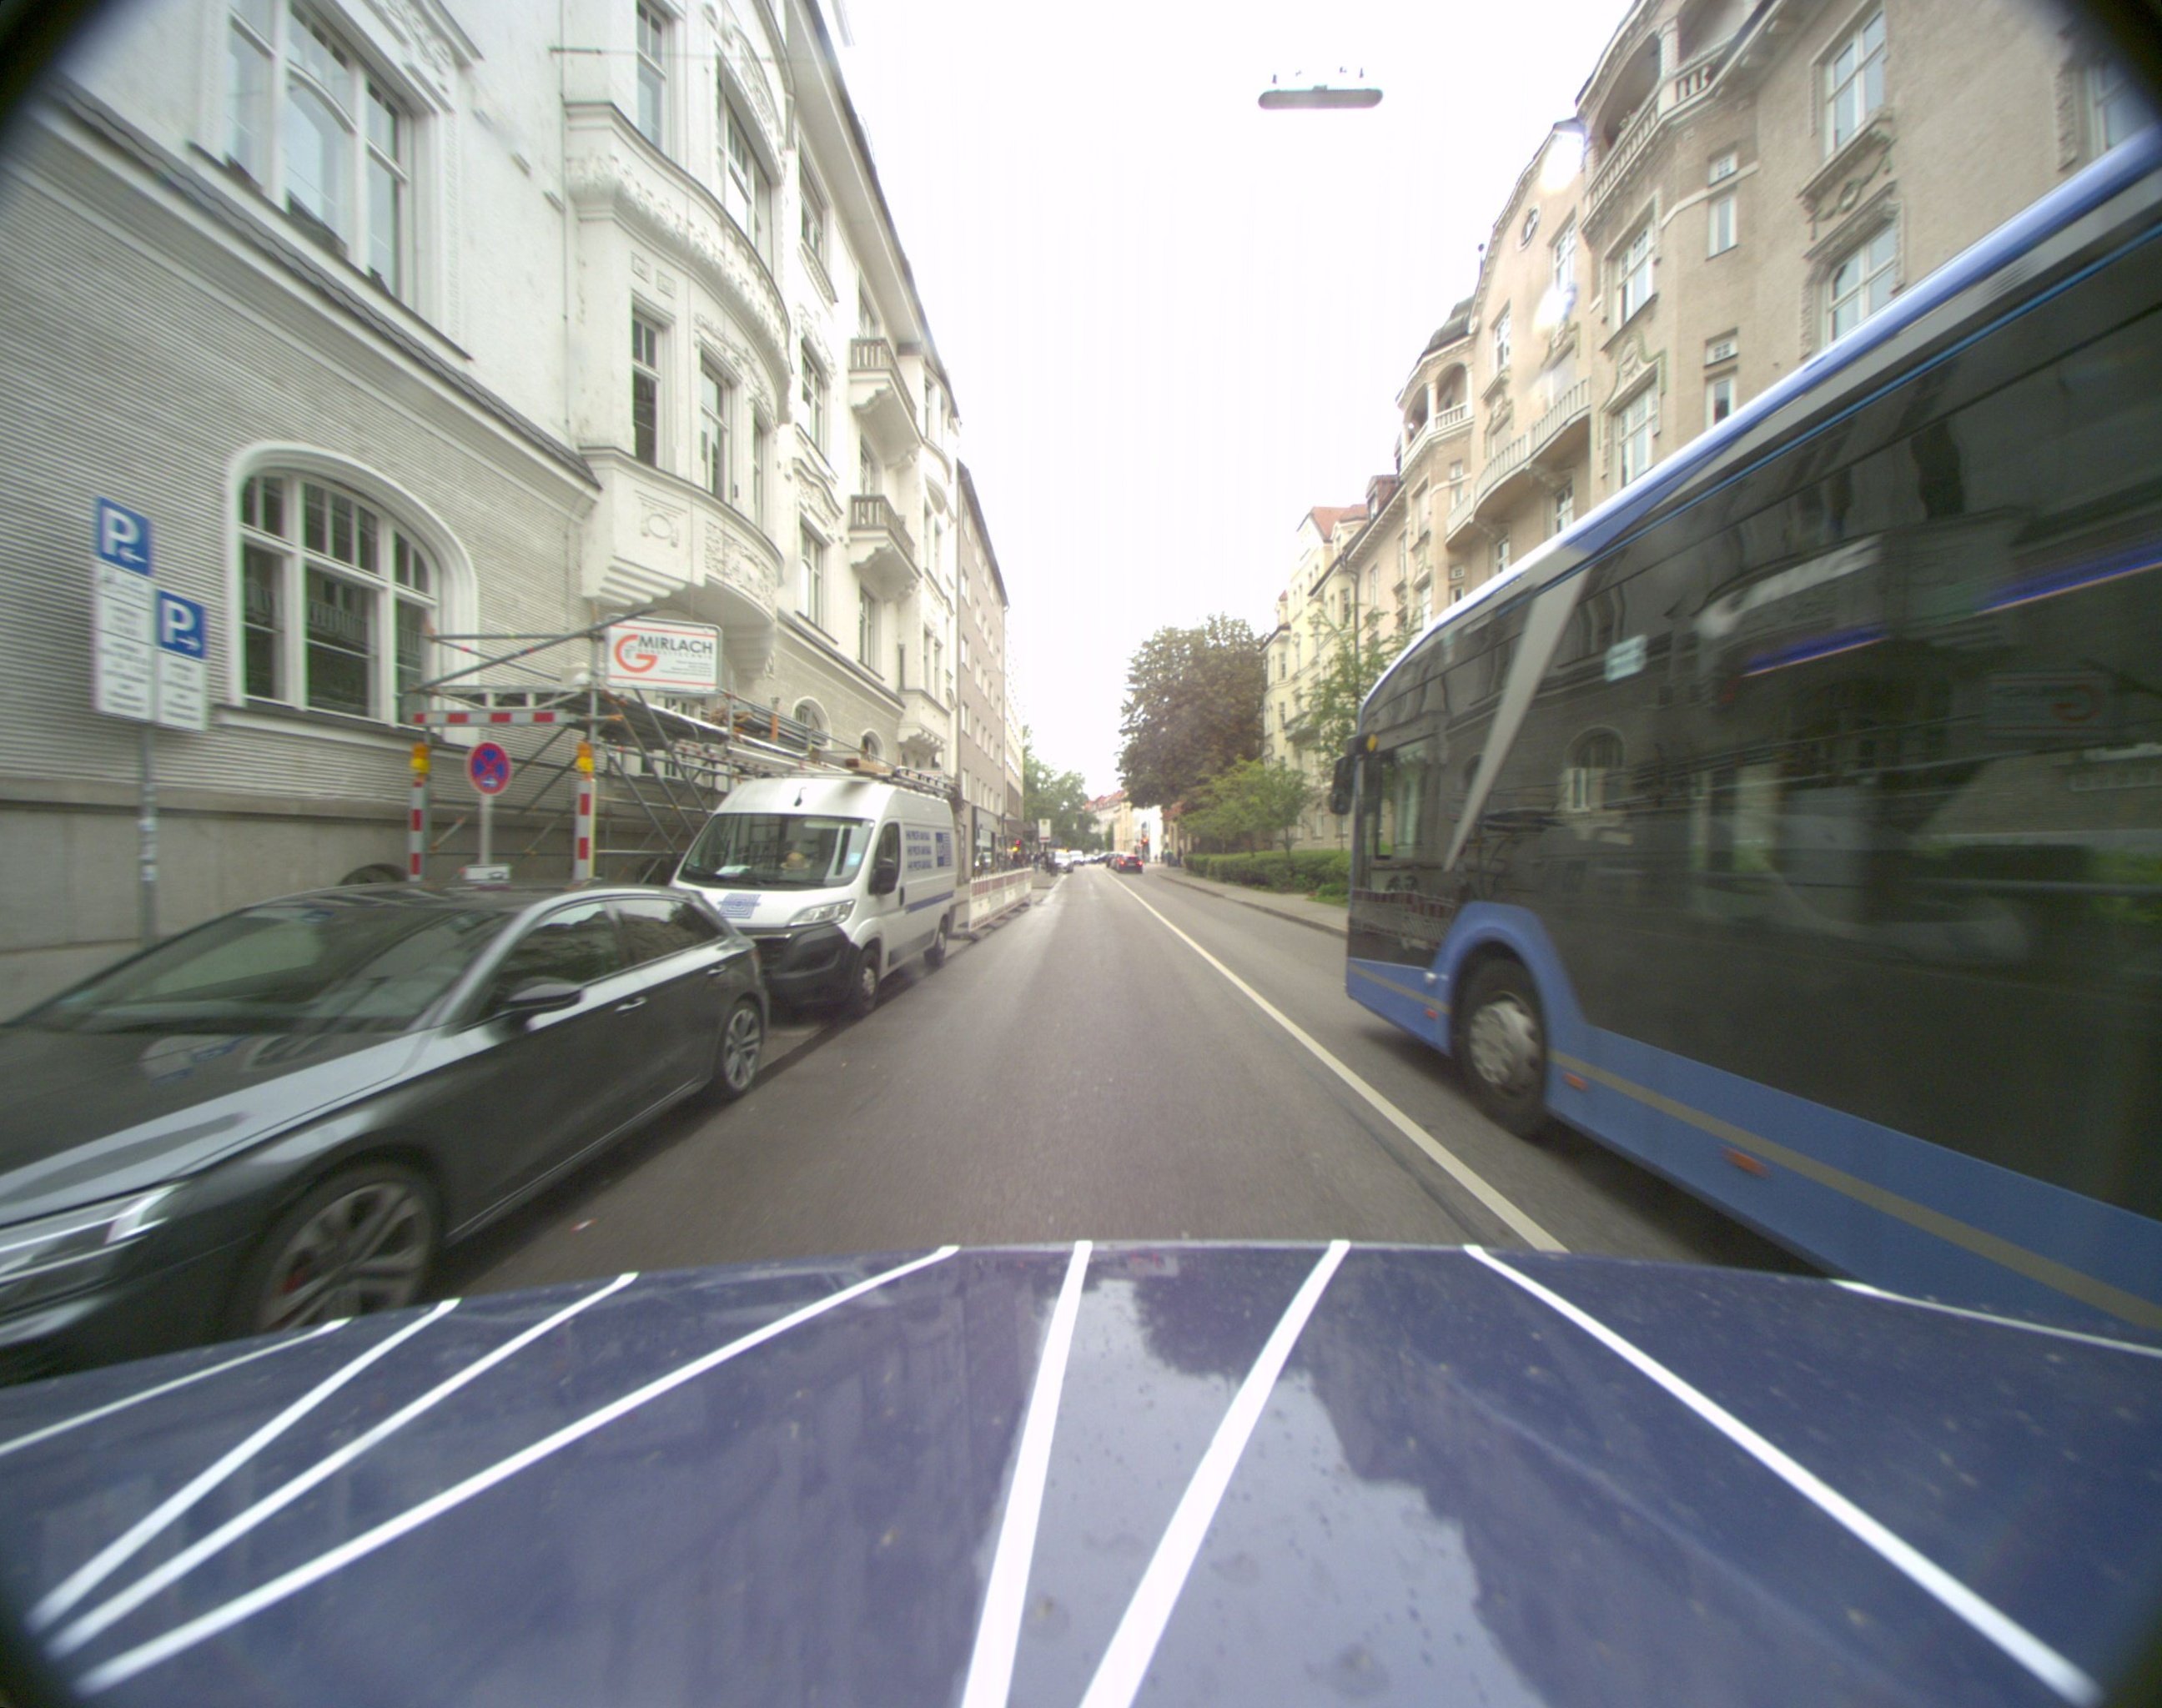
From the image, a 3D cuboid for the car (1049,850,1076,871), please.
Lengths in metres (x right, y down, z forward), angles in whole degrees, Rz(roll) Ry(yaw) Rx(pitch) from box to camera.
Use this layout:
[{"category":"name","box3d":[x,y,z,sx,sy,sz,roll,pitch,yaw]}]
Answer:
[{"category":"car","box3d":[-1.450,0.480,61.892,1.723,1.622,4.001,0,0,5]}]

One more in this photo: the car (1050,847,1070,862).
[{"category":"car","box3d":[-2.232,0.038,82.557,1.723,1.622,4.001,0,0,5]}]

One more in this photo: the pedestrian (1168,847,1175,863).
[{"category":"pedestrian","box3d":[8.814,0.102,74.016,0.625,1.579,0.662,0,1,1]}]

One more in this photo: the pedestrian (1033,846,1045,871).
[{"category":"pedestrian","box3d":[-3.150,0.322,57.477,0.826,1.849,0.820,-1,1,0]}]

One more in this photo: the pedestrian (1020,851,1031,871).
[{"category":"pedestrian","box3d":[-4.083,0.500,56.041,0.747,1.439,0.571,0,1,1]}]

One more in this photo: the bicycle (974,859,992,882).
[{"category":"bicycle","box3d":[-4.766,0.788,36.998,0.593,1.111,1.845,0,1,1]}]

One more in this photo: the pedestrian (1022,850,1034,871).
[{"category":"pedestrian","box3d":[-4.010,0.513,57.347,0.837,1.580,0.806,0,1,-3]}]

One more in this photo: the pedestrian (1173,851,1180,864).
[{"category":"pedestrian","box3d":[9.271,0.331,73.691,0.546,1.237,0.577,0,1,1]}]

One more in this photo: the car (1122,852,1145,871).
[{"category":"car","box3d":[4.164,0.578,59.956,1.723,1.398,4.001,0,0,5]}]

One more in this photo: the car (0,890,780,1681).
[{"category":"car","box3d":[-3.058,0.971,3.227,1.792,1.399,4.244,0,0,1]}]

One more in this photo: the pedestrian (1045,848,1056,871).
[{"category":"pedestrian","box3d":[-2.251,0.389,56.362,0.745,1.706,0.616,0,1,1]}]

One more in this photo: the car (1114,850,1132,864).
[{"category":"car","box3d":[4.435,0.306,80.377,1.723,1.398,4.001,0,0,5]}]

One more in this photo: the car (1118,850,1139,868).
[{"category":"car","box3d":[4.160,0.434,66.370,1.723,1.536,4.001,0,0,5]}]

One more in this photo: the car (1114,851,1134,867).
[{"category":"car","box3d":[4.139,0.461,72.993,1.723,1.398,4.001,0,0,5]}]

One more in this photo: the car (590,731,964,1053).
[{"category":"car","box3d":[-2.999,0.302,9.125,2.082,2.673,5.445,1,1,2]}]

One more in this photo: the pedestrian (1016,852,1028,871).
[{"category":"pedestrian","box3d":[-4.199,0.537,54.490,0.837,1.399,0.866,0,1,-3]}]

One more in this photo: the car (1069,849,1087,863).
[{"category":"car","box3d":[-0.311,0.216,93.218,1.918,1.648,4.602,0,0,4]}]

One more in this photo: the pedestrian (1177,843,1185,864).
[{"category":"pedestrian","box3d":[9.326,-0.014,70.700,0.625,1.945,0.662,0,1,1]}]

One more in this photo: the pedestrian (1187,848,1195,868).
[{"category":"pedestrian","box3d":[9.305,0.332,64.422,0.625,1.611,0.662,0,1,1]}]
